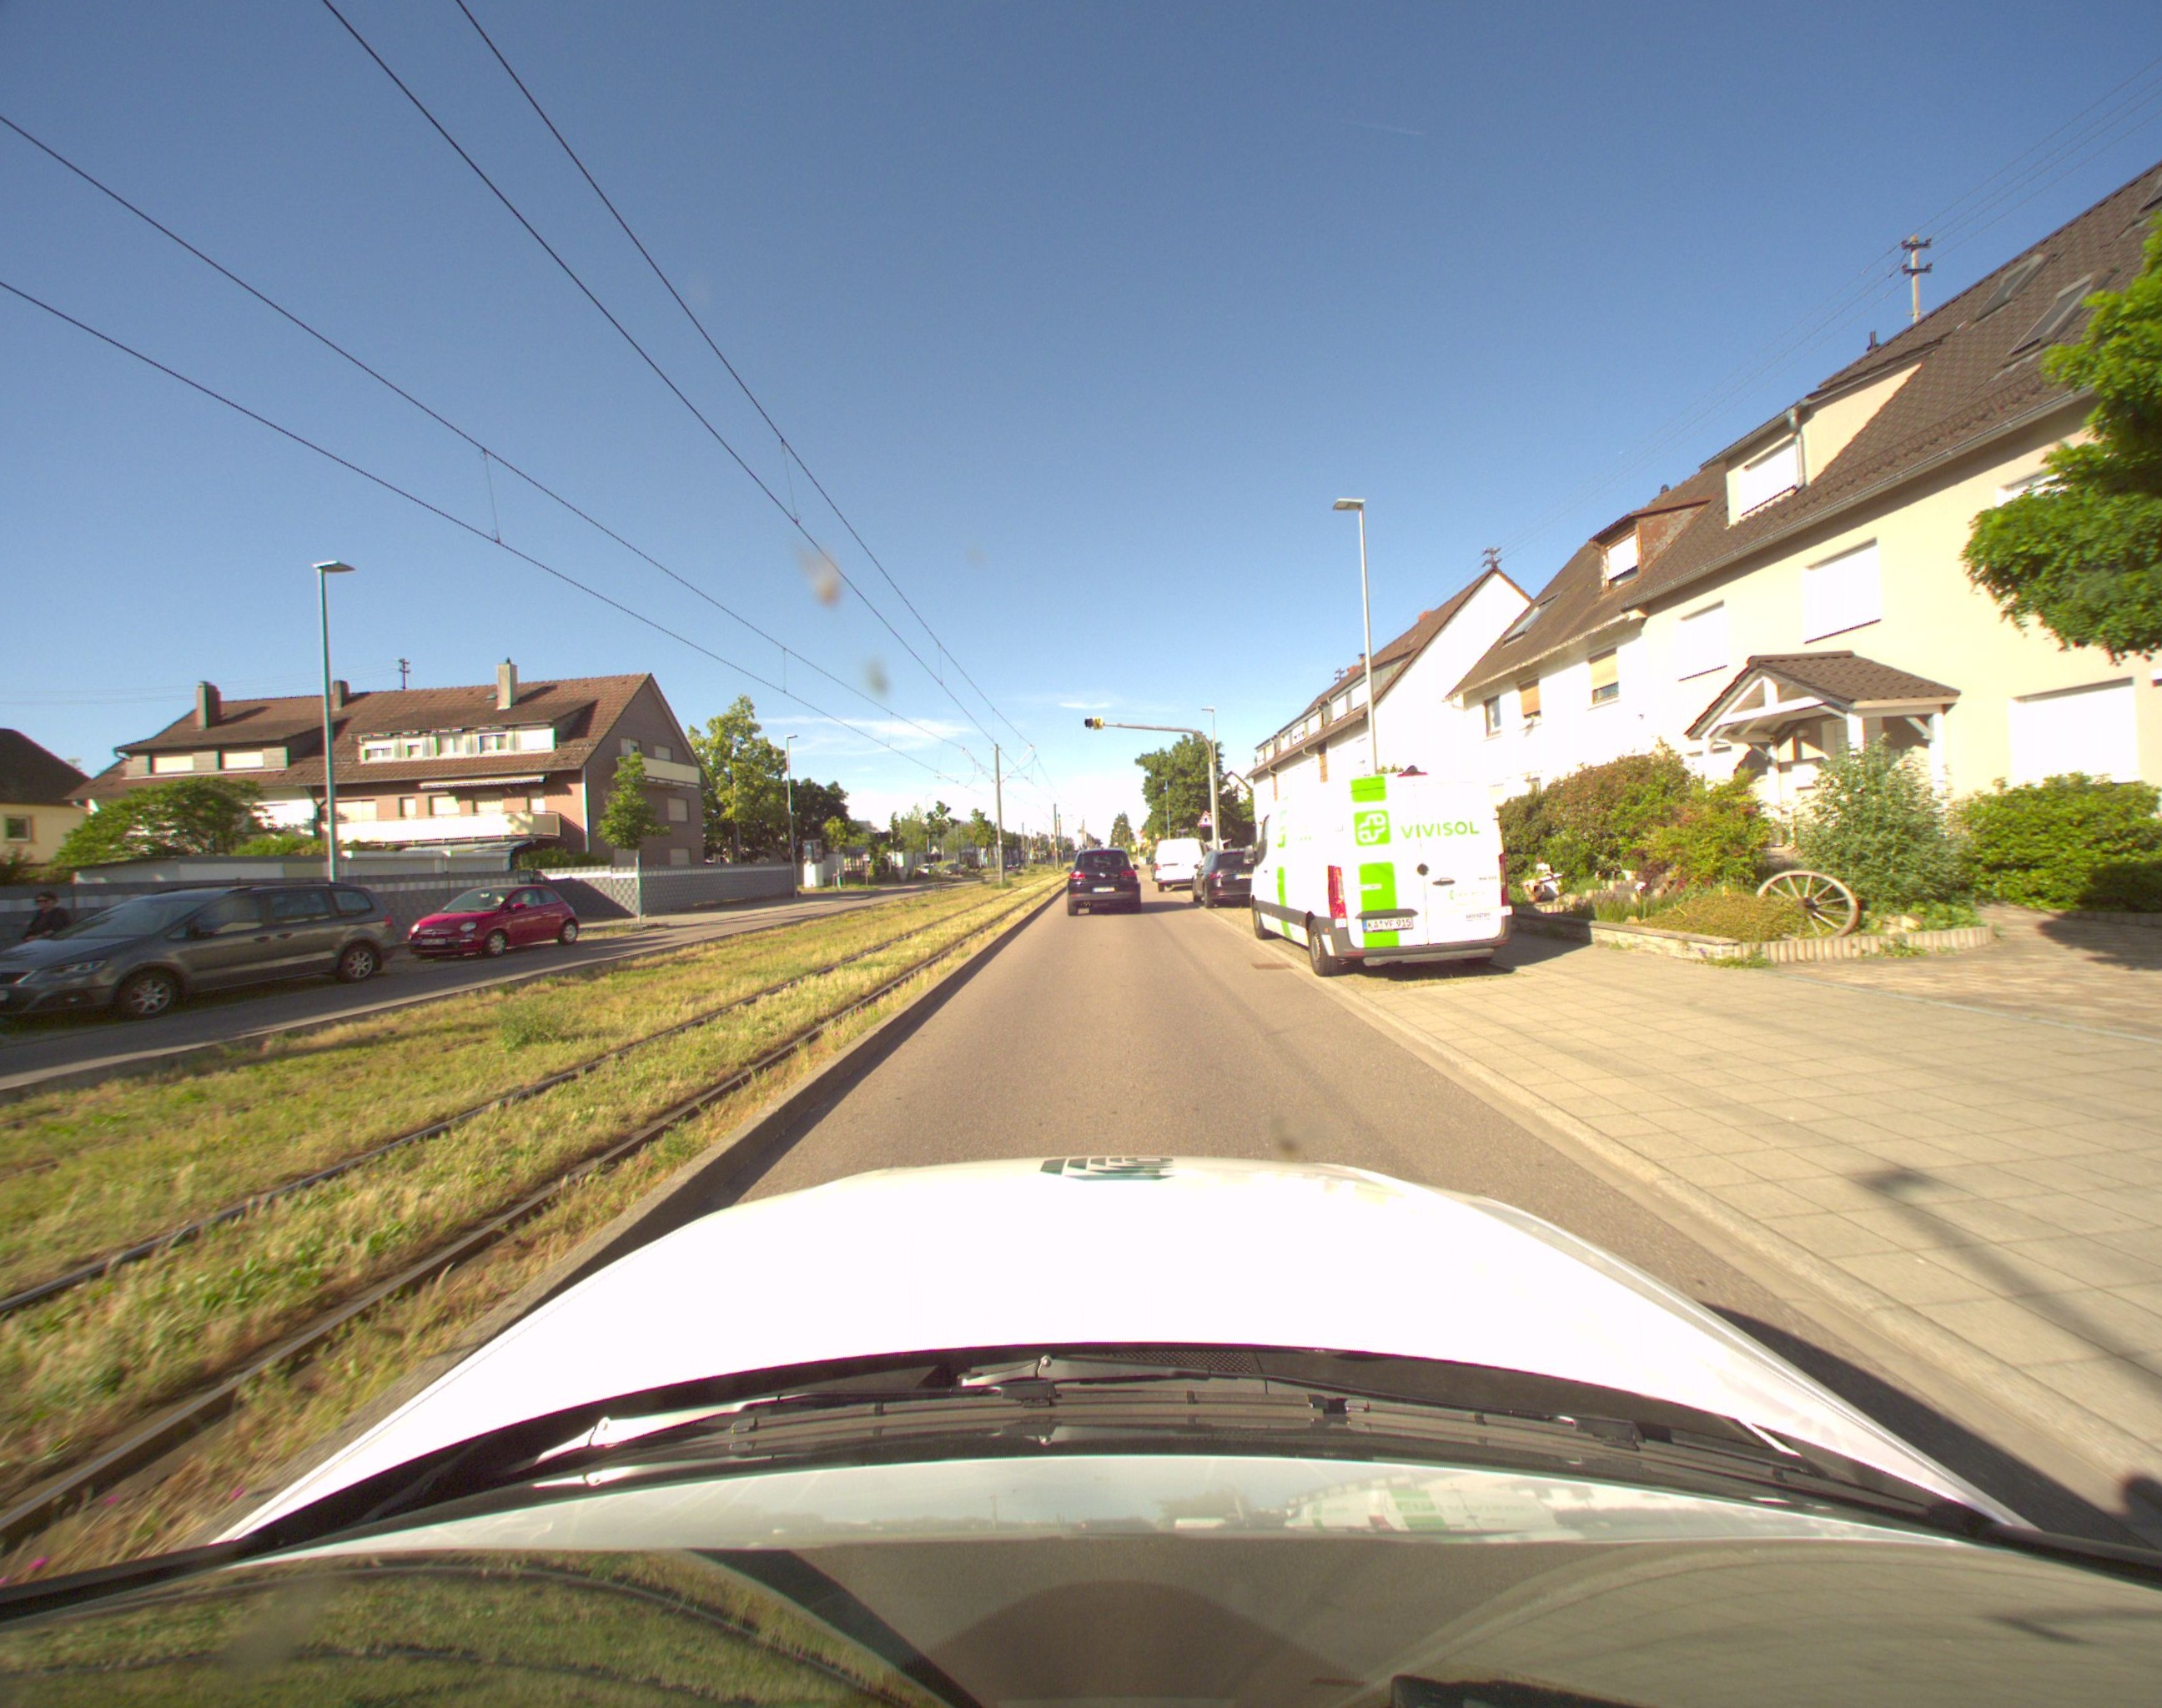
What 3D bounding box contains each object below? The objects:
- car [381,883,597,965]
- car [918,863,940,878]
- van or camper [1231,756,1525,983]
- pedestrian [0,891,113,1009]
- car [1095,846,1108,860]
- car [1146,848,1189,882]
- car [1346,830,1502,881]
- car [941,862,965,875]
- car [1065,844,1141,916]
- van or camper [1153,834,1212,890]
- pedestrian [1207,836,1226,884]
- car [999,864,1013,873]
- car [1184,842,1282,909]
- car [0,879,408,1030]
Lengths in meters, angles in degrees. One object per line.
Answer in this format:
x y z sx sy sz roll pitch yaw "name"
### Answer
-13.084 1.474 18.367 1.689 1.405 4.081 -3 0 2 "car"
-15.830 1.659 84.994 1.539 1.491 3.775 -1 -1 0 "car"
3.726 0.188 11.786 1.986 2.271 6.307 -4 -1 2 "van or camper"
-15.240 1.393 12.061 0.693 1.640 0.919 -1 -1 -1 "pedestrian"
4.036 -0.245 160.190 2.385 2.564 5.533 -3 0 3 "car"
4.619 0.561 44.076 1.785 1.628 4.861 -5 0 1 "car"
12.078 0.072 28.889 4.697 1.477 1.906 -3 -1 -1 "car"
-15.405 1.737 98.252 1.801 1.461 4.324 -1 -1 6 "car"
0.511 0.629 21.393 1.770 1.670 3.999 -1 -1 0 "car"
4.143 0.279 32.536 2.016 1.956 5.309 -3 0 9 "van or camper"
5.504 0.247 33.030 0.694 1.912 0.761 -1 -1 10 "pedestrian"
-12.705 2.417 137.993 1.681 1.389 4.391 -4 -1 3 "car"
3.972 0.534 22.084 1.742 1.494 5.157 -4 -1 2 "car"
-13.164 1.303 12.300 1.812 1.684 4.848 -1 0 2 "car"
